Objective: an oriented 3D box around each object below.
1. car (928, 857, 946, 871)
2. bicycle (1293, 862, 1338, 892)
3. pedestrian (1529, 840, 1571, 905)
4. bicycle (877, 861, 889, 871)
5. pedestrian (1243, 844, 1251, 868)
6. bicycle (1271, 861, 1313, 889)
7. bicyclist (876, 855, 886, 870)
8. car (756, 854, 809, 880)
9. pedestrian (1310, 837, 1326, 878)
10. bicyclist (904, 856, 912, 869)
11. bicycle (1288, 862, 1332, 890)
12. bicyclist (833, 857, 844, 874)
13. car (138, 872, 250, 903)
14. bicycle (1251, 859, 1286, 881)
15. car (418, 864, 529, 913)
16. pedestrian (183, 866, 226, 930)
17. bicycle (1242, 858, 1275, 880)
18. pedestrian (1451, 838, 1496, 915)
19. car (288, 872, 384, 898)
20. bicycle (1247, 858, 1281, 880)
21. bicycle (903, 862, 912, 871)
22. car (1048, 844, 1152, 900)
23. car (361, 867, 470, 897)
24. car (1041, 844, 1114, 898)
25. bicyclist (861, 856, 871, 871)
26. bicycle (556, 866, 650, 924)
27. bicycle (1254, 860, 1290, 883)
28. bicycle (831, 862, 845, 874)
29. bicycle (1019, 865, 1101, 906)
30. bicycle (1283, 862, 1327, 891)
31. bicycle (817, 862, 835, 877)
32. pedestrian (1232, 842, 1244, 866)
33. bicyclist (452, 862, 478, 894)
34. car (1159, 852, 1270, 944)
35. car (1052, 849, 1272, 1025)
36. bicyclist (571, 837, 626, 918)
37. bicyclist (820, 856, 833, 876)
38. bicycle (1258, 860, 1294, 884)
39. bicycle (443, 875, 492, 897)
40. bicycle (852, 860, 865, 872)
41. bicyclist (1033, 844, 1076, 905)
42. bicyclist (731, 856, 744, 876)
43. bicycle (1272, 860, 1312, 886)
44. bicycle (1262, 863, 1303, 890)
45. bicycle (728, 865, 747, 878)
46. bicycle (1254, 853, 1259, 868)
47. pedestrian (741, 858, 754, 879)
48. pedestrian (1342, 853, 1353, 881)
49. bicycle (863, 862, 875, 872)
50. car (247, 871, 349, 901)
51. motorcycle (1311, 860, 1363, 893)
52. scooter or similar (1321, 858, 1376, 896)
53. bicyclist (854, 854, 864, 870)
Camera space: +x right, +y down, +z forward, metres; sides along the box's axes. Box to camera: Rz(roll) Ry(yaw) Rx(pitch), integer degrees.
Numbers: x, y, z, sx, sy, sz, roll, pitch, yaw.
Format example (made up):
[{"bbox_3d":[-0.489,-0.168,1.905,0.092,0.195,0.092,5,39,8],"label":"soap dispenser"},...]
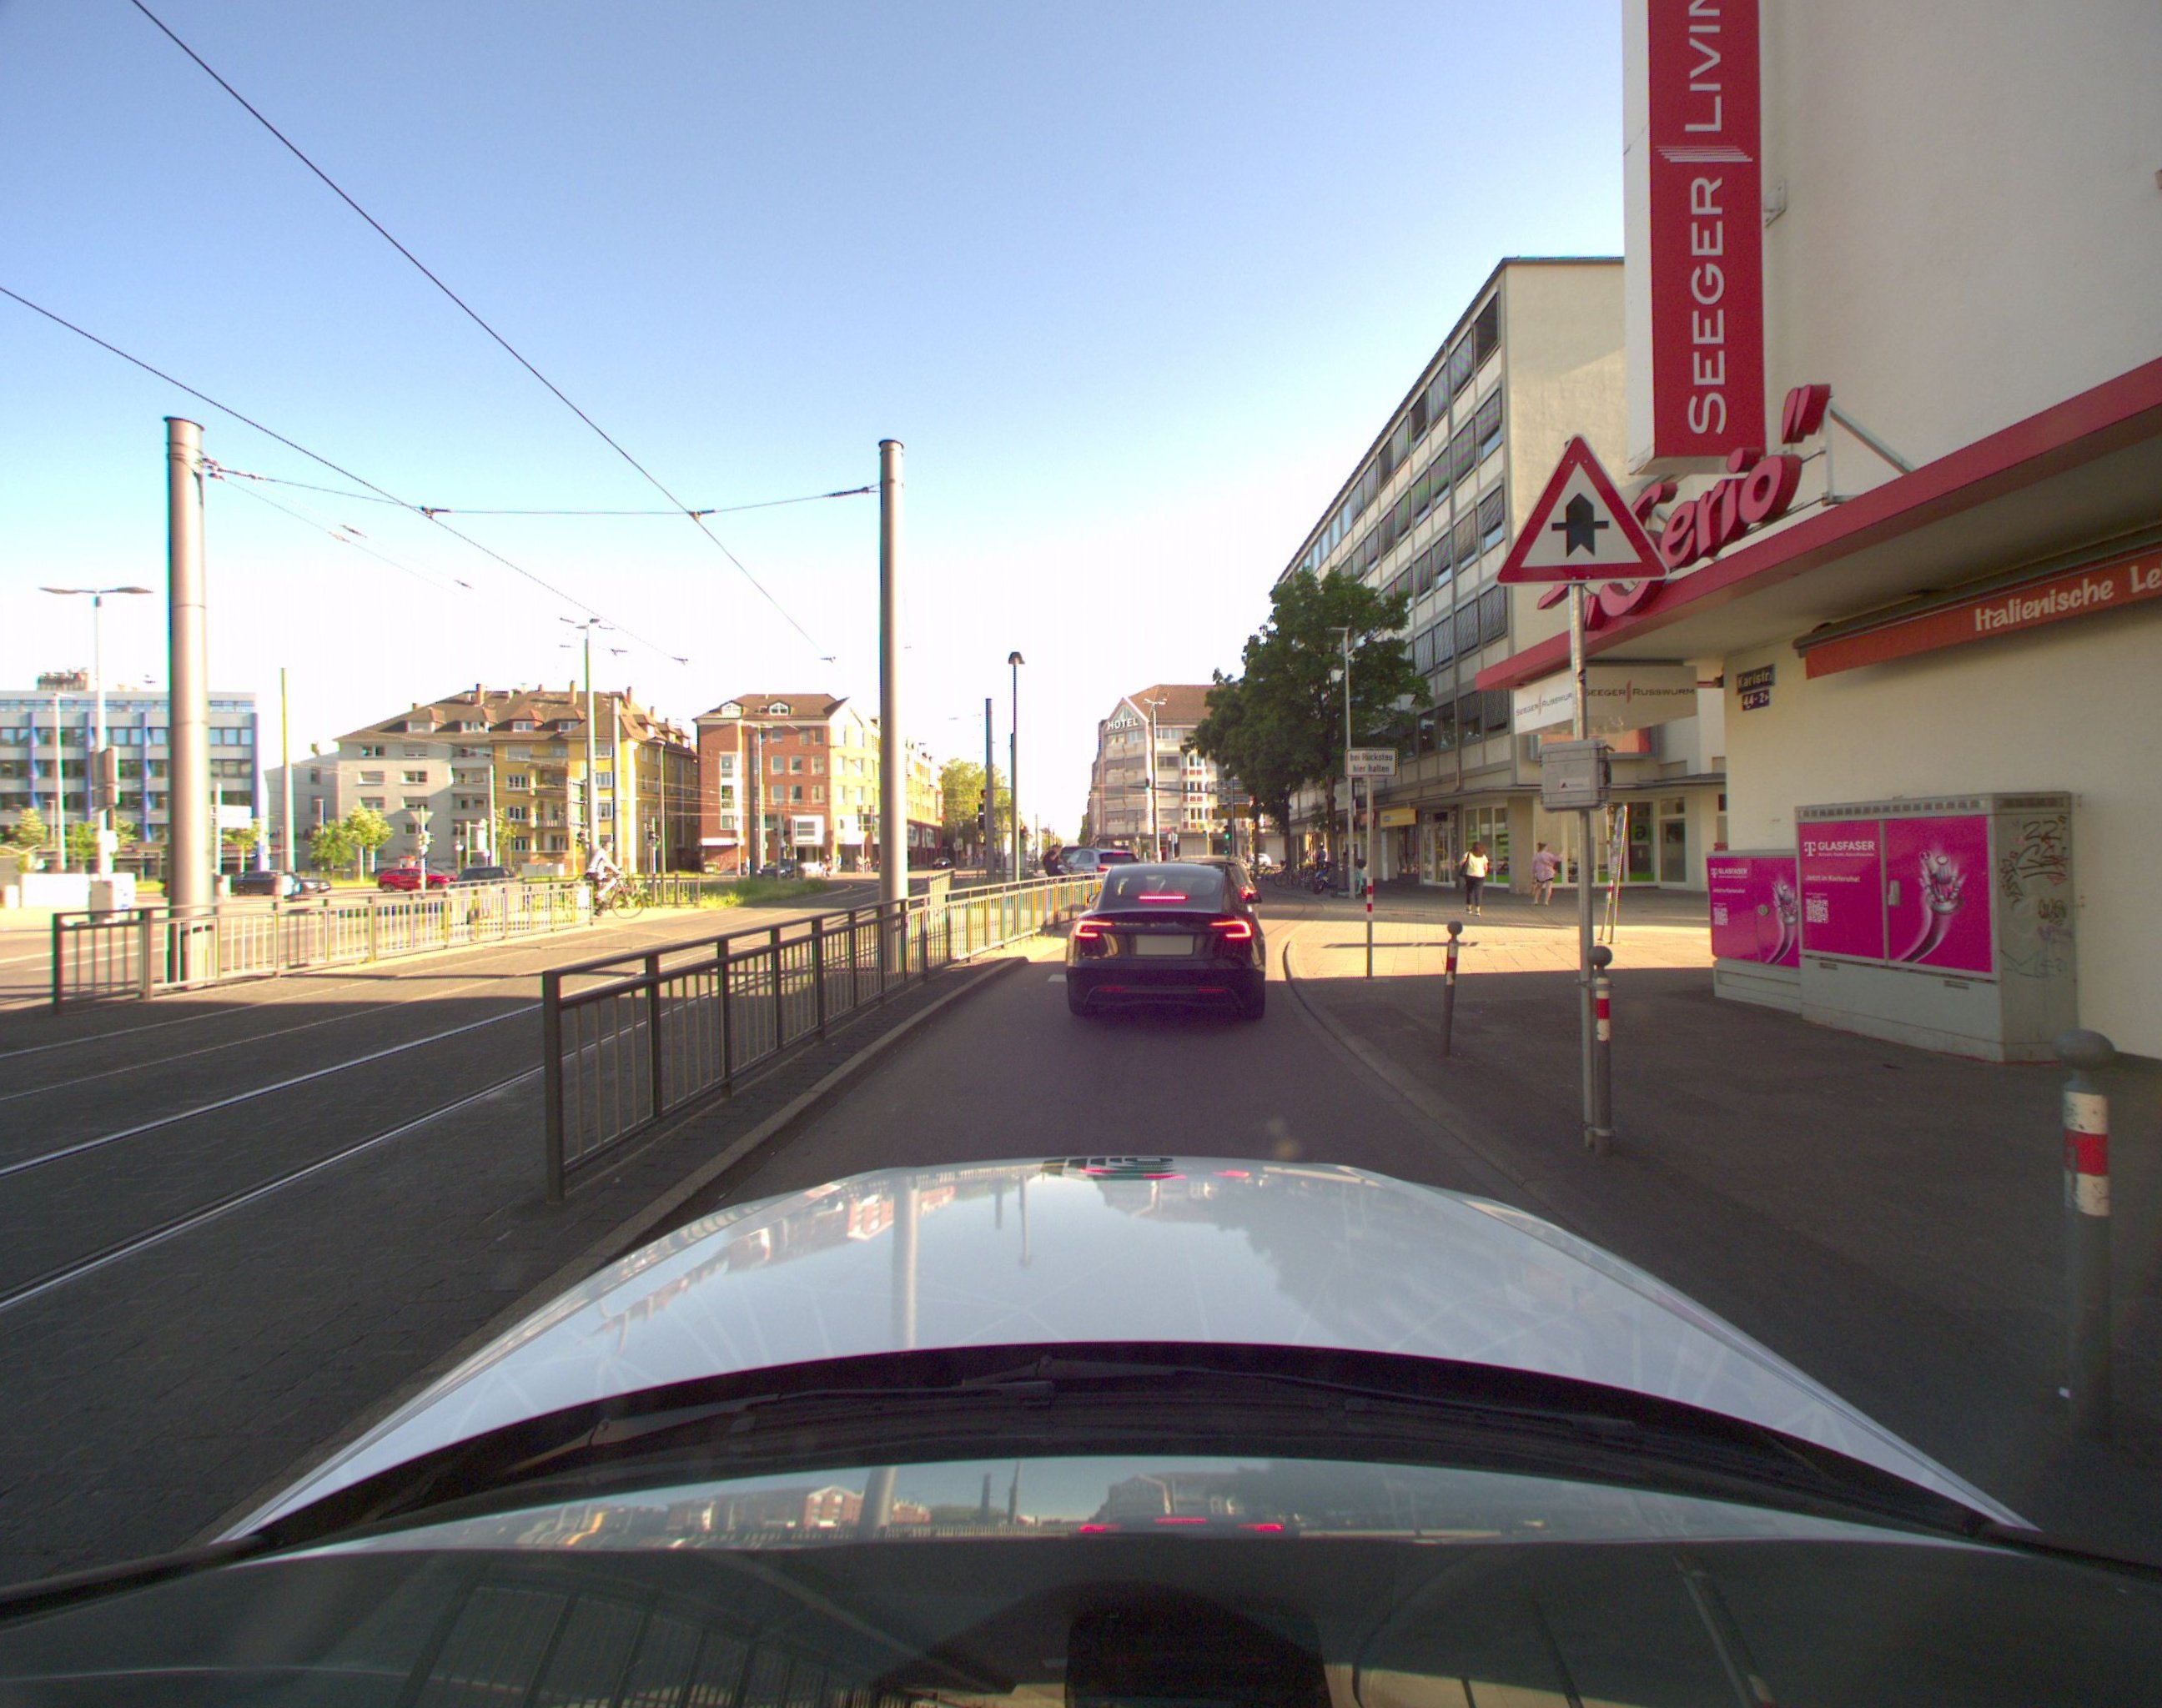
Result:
[{"bbox_3d":[-18.087,1.207,102.470,1.692,1.731,3.706,0,-1,0],"label":"car"},{"bbox_3d":[8.899,0.859,30.943,1.649,1.099,0.349,0,-1,-9],"label":"bicycle"},{"bbox_3d":[12.428,0.488,21.615,0.881,1.667,0.813,-1,-1,25],"label":"pedestrian"},{"bbox_3d":[-21.439,1.267,88.240,0.527,1.088,2.227,-1,0,4],"label":"bicycle"},{"bbox_3d":[11.968,0.145,58.725,0.525,1.710,0.403,0,1,-3],"label":"pedestrian"},{"bbox_3d":[8.621,0.846,33.324,1.649,1.099,0.349,0,-1,-9],"label":"bicycle"},{"bbox_3d":[-21.519,0.946,87.573,0.780,1.563,0.747,-1,0,3],"label":"bicyclist"},{"bbox_3d":[-18.788,0.796,51.471,1.703,1.527,4.039,0,-1,3],"label":"car"},{"bbox_3d":[11.756,0.192,40.414,0.659,2.014,0.580,0,-1,4],"label":"pedestrian"},{"bbox_3d":[-21.808,1.102,102.751,0.780,1.563,0.747,0,-1,3],"label":"bicyclist"},{"bbox_3d":[8.821,0.857,31.366,1.649,1.061,0.349,0,-1,-9],"label":"bicycle"},{"bbox_3d":[-22.859,1.070,76.839,0.780,1.563,0.747,0,-1,3],"label":"bicyclist"},{"bbox_3d":[-50.619,1.876,46.564,3.952,1.685,1.903,0,-1,-11],"label":"car"},{"bbox_3d":[9.285,0.797,40.255,1.643,1.099,0.350,0,-1,3],"label":"bicycle"},{"bbox_3d":[-20.804,1.128,28.068,1.642,1.526,3.848,0,-1,-13],"label":"car"},{"bbox_3d":[-23.585,1.176,21.928,0.585,1.681,0.779,-1,-1,44],"label":"pedestrian"},{"bbox_3d":[9.248,0.790,42.397,1.643,1.099,0.350,0,-1,3],"label":"bicycle"},{"bbox_3d":[9.201,0.521,19.117,0.906,1.752,1.044,-1,-1,25],"label":"pedestrian"},{"bbox_3d":[-45.828,1.878,50.185,3.990,1.483,1.786,0,-1,-12],"label":"car"},{"bbox_3d":[9.267,0.760,41.303,1.643,1.099,0.350,-1,0,3],"label":"bicycle"},{"bbox_3d":[-21.815,1.528,102.576,0.527,1.088,2.227,0,-1,4],"label":"bicycle"},{"bbox_3d":[0.530,0.557,26.699,1.891,1.662,4.126,0,-1,-23],"label":"car"},{"bbox_3d":[-39.453,1.652,48.377,4.585,1.700,1.993,0,-1,-10],"label":"car"},{"bbox_3d":[-0.211,0.664,32.768,1.997,2.014,3.980,-1,0,-15],"label":"car"},{"bbox_3d":[-22.405,0.977,85.065,0.780,1.563,0.747,-1,0,3],"label":"bicyclist"},{"bbox_3d":[-10.702,0.896,18.305,0.479,1.222,1.866,-1,-1,27],"label":"bicycle"},{"bbox_3d":[9.209,0.840,39.242,1.643,1.099,0.350,0,-1,3],"label":"bicycle"},{"bbox_3d":[-22.897,1.304,76.736,0.535,1.088,2.227,0,-1,4],"label":"bicycle"},{"bbox_3d":[-0.559,0.845,22.559,2.346,1.053,0.624,0,-1,-36],"label":"bicycle"},{"bbox_3d":[8.735,0.859,31.793,1.649,1.099,0.349,0,-1,-9],"label":"bicycle"},{"bbox_3d":[-19.517,1.173,62.441,0.456,1.093,2.205,0,-1,6],"label":"bicycle"},{"bbox_3d":[11.267,-0.001,58.560,0.697,1.662,0.777,0,-1,1],"label":"pedestrian"},{"bbox_3d":[-34.799,1.333,46.012,0.900,1.808,0.788,0,-1,-10],"label":"bicyclist"},{"bbox_3d":[2.430,0.701,15.056,1.741,1.454,4.009,-1,0,8],"label":"car"},{"bbox_3d":[0.906,0.705,8.798,1.820,1.455,4.007,0,-1,7],"label":"car"},{"bbox_3d":[-10.773,0.515,18.196,0.749,1.759,0.757,-1,-1,27],"label":"bicyclist"},{"bbox_3d":[-19.514,0.905,62.425,0.781,1.527,0.590,0,-1,6],"label":"bicyclist"},{"bbox_3d":[9.144,0.836,38.216,1.643,1.099,0.350,0,-1,3],"label":"bicycle"},{"bbox_3d":[-34.657,1.812,46.050,2.188,1.214,0.544,0,-1,-11],"label":"bicycle"},{"bbox_3d":[-22.442,1.203,82.199,0.527,1.088,2.286,-1,0,4],"label":"bicycle"},{"bbox_3d":[-0.744,0.556,22.383,0.763,1.628,0.967,0,-1,-37],"label":"bicyclist"},{"bbox_3d":[-26.028,0.917,61.714,0.631,1.503,0.696,0,-1,1],"label":"bicyclist"},{"bbox_3d":[9.122,0.831,35.262,1.643,1.099,0.350,0,-1,3],"label":"bicycle"},{"bbox_3d":[8.454,0.934,34.204,1.649,1.099,0.349,0,-1,-9],"label":"bicycle"},{"bbox_3d":[-26.013,1.328,61.701,0.445,0.972,2.247,0,-1,2],"label":"bicycle"},{"bbox_3d":[12.536,0.473,58.122,0.330,1.034,1.260,-1,-1,11],"label":"bicycle"},{"bbox_3d":[-28.746,1.230,70.101,0.780,1.820,0.747,0,-1,3],"label":"pedestrian"},{"bbox_3d":[12.889,0.623,39.351,0.388,1.343,0.513,0,-1,4],"label":"pedestrian"},{"bbox_3d":[-22.281,1.343,85.603,0.527,1.088,2.286,0,-1,4],"label":"bicycle"},{"bbox_3d":[-45.490,1.837,47.382,3.984,1.672,1.772,0,-1,-8],"label":"car"},{"bbox_3d":[9.148,0.808,29.173,1.701,1.173,0.541,0,-1,0],"label":"motorcycle"},{"bbox_3d":[8.902,0.763,27.103,1.625,1.215,0.649,-1,-1,32],"label":"scooter or similar"},{"bbox_3d":[-22.442,0.812,82.324,0.780,1.563,0.747,-1,0,3],"label":"bicyclist"}]
